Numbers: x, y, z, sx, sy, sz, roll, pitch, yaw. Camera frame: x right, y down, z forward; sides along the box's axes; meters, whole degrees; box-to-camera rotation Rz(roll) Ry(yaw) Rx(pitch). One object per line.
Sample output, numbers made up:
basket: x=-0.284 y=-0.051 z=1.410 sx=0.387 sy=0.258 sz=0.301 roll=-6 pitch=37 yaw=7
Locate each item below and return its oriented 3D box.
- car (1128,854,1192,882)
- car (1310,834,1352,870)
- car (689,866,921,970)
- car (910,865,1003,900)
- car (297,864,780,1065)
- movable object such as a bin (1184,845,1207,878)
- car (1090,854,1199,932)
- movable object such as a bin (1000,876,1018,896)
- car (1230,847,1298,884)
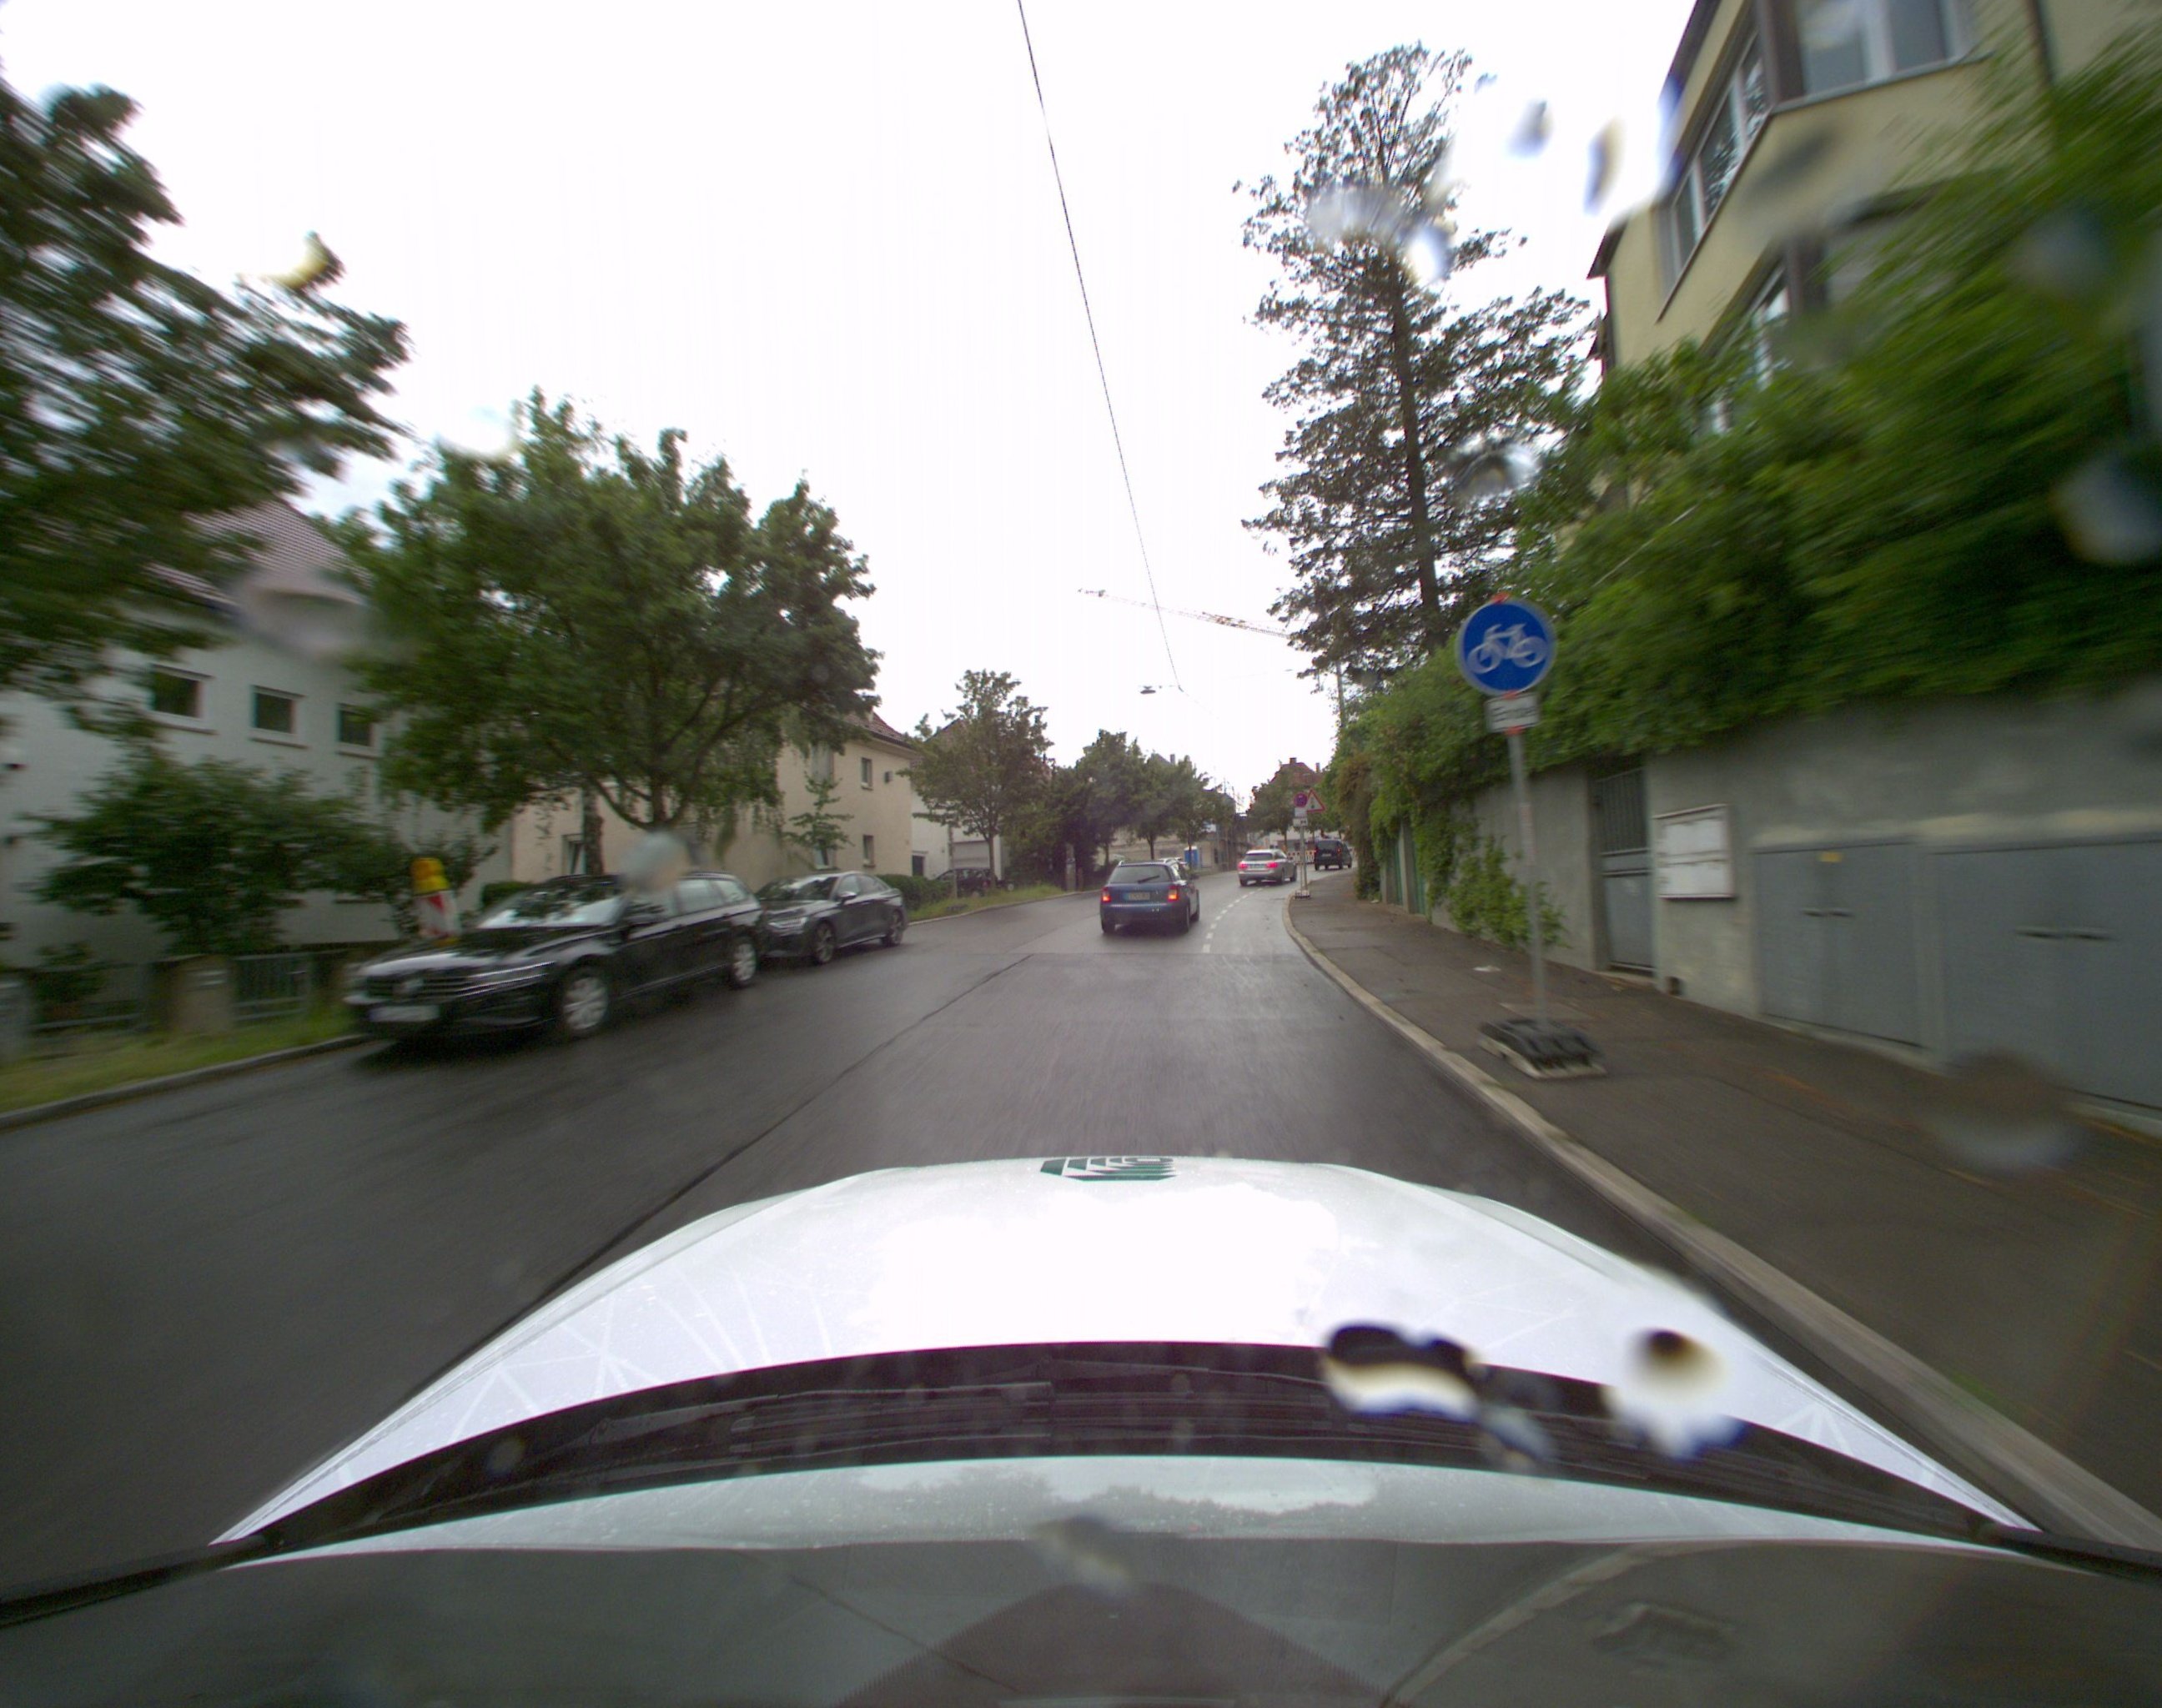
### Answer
car: x=5.808 y=1.023 z=60.079 sx=4.161 sy=1.604 sz=1.961 roll=-8 pitch=-3 yaw=21
car: x=15.149 y=-0.149 z=49.266 sx=1.715 sy=1.894 sz=4.079 roll=-7 pitch=-2 yaw=25
car: x=-4.403 y=0.959 z=13.866 sx=1.696 sy=1.382 sz=4.543 roll=-2 pitch=0 yaw=10
car: x=-5.860 y=1.302 z=38.394 sx=3.907 sy=1.543 sz=1.873 roll=0 pitch=1 yaw=20
car: x=-5.090 y=0.898 z=8.609 sx=1.724 sy=1.484 sz=4.537 roll=-2 pitch=0 yaw=5
movable object such as a bin: x=9.118 y=0.578 z=65.050 sx=1.301 sy=2.505 sz=1.394 roll=-5 pitch=-1 yaw=23
car: x=1.466 y=0.739 z=17.222 sx=1.765 sy=1.439 sz=4.013 roll=-1 pitch=0 yaw=12
movable object such as a bin: x=-3.510 y=1.545 z=39.708 sx=0.663 sy=0.921 sz=0.595 roll=-2 pitch=0 yaw=20
car: x=7.837 y=0.445 z=34.592 sx=1.891 sy=1.388 sz=4.375 roll=-3 pitch=0 yaw=25
